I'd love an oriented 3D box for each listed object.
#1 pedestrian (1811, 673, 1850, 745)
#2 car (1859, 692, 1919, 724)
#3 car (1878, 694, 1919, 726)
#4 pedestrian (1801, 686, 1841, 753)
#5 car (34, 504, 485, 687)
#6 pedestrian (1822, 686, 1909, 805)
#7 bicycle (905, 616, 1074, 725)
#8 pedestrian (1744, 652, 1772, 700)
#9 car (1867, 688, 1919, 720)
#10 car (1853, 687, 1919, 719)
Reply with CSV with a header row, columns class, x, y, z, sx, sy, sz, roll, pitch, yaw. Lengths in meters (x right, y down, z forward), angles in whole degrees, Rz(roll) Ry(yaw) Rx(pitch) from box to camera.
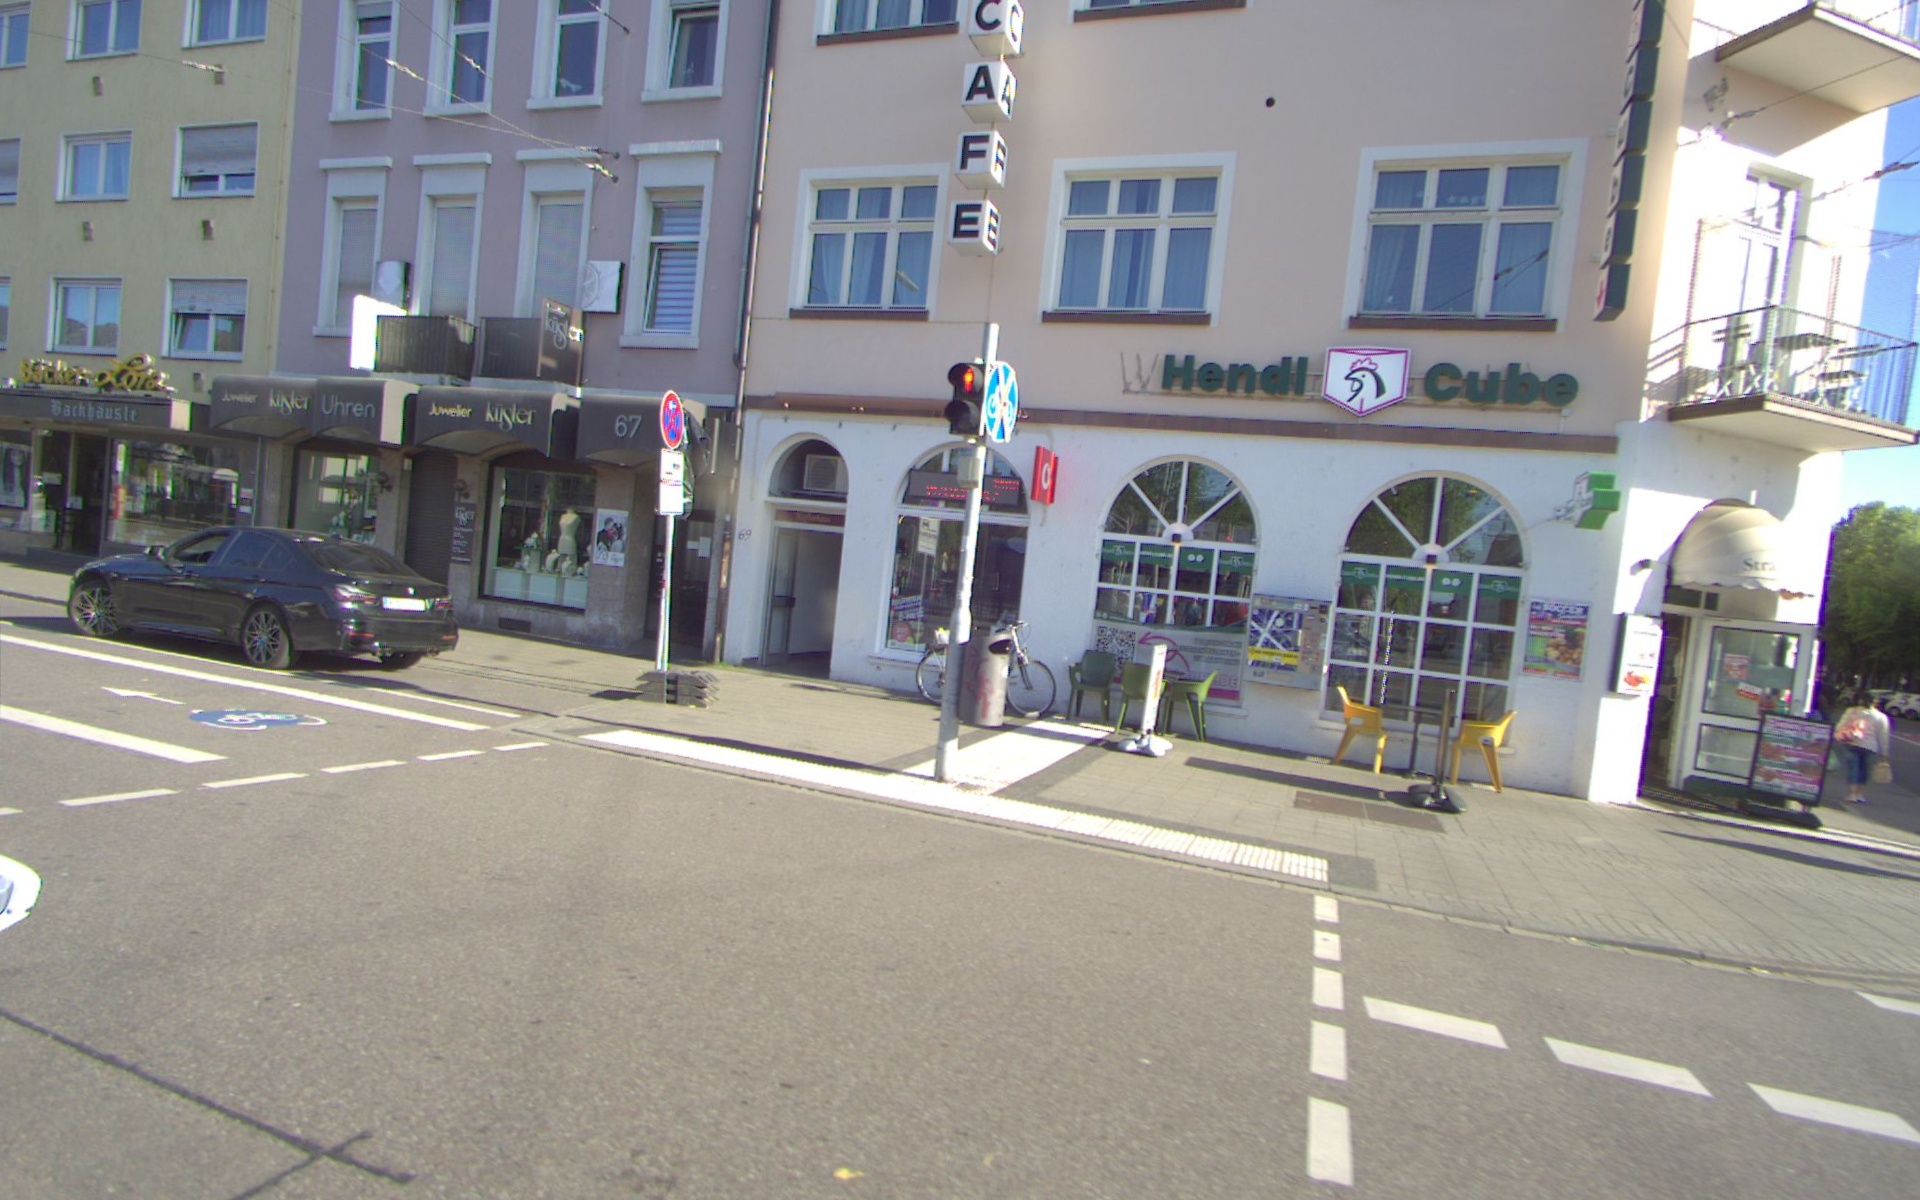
class,x,y,z,sx,sy,sz,roll,pitch,yaw
pedestrian,23.691,2.946,27.392,0.572,1.860,0.630,7,3,36
car,59.158,6.835,62.967,1.985,1.566,3.953,4,2,-42
car,56.180,6.551,58.390,1.985,1.566,3.953,4,2,-42
pedestrian,22.662,3.147,26.498,0.543,1.663,0.536,7,3,31
car,-7.983,-0.089,11.505,4.567,1.458,1.744,7,1,17
pedestrian,12.925,2.052,14.389,0.684,1.544,0.657,7,3,35
bicycle,0.365,0.850,12.426,1.912,1.081,0.583,6,2,13
pedestrian,33.259,3.166,41.933,0.673,1.934,0.630,7,3,36
car,57.686,6.413,60.788,1.985,1.566,3.953,4,2,-42
car,61.647,6.818,66.194,1.985,1.566,3.953,4,2,-42
